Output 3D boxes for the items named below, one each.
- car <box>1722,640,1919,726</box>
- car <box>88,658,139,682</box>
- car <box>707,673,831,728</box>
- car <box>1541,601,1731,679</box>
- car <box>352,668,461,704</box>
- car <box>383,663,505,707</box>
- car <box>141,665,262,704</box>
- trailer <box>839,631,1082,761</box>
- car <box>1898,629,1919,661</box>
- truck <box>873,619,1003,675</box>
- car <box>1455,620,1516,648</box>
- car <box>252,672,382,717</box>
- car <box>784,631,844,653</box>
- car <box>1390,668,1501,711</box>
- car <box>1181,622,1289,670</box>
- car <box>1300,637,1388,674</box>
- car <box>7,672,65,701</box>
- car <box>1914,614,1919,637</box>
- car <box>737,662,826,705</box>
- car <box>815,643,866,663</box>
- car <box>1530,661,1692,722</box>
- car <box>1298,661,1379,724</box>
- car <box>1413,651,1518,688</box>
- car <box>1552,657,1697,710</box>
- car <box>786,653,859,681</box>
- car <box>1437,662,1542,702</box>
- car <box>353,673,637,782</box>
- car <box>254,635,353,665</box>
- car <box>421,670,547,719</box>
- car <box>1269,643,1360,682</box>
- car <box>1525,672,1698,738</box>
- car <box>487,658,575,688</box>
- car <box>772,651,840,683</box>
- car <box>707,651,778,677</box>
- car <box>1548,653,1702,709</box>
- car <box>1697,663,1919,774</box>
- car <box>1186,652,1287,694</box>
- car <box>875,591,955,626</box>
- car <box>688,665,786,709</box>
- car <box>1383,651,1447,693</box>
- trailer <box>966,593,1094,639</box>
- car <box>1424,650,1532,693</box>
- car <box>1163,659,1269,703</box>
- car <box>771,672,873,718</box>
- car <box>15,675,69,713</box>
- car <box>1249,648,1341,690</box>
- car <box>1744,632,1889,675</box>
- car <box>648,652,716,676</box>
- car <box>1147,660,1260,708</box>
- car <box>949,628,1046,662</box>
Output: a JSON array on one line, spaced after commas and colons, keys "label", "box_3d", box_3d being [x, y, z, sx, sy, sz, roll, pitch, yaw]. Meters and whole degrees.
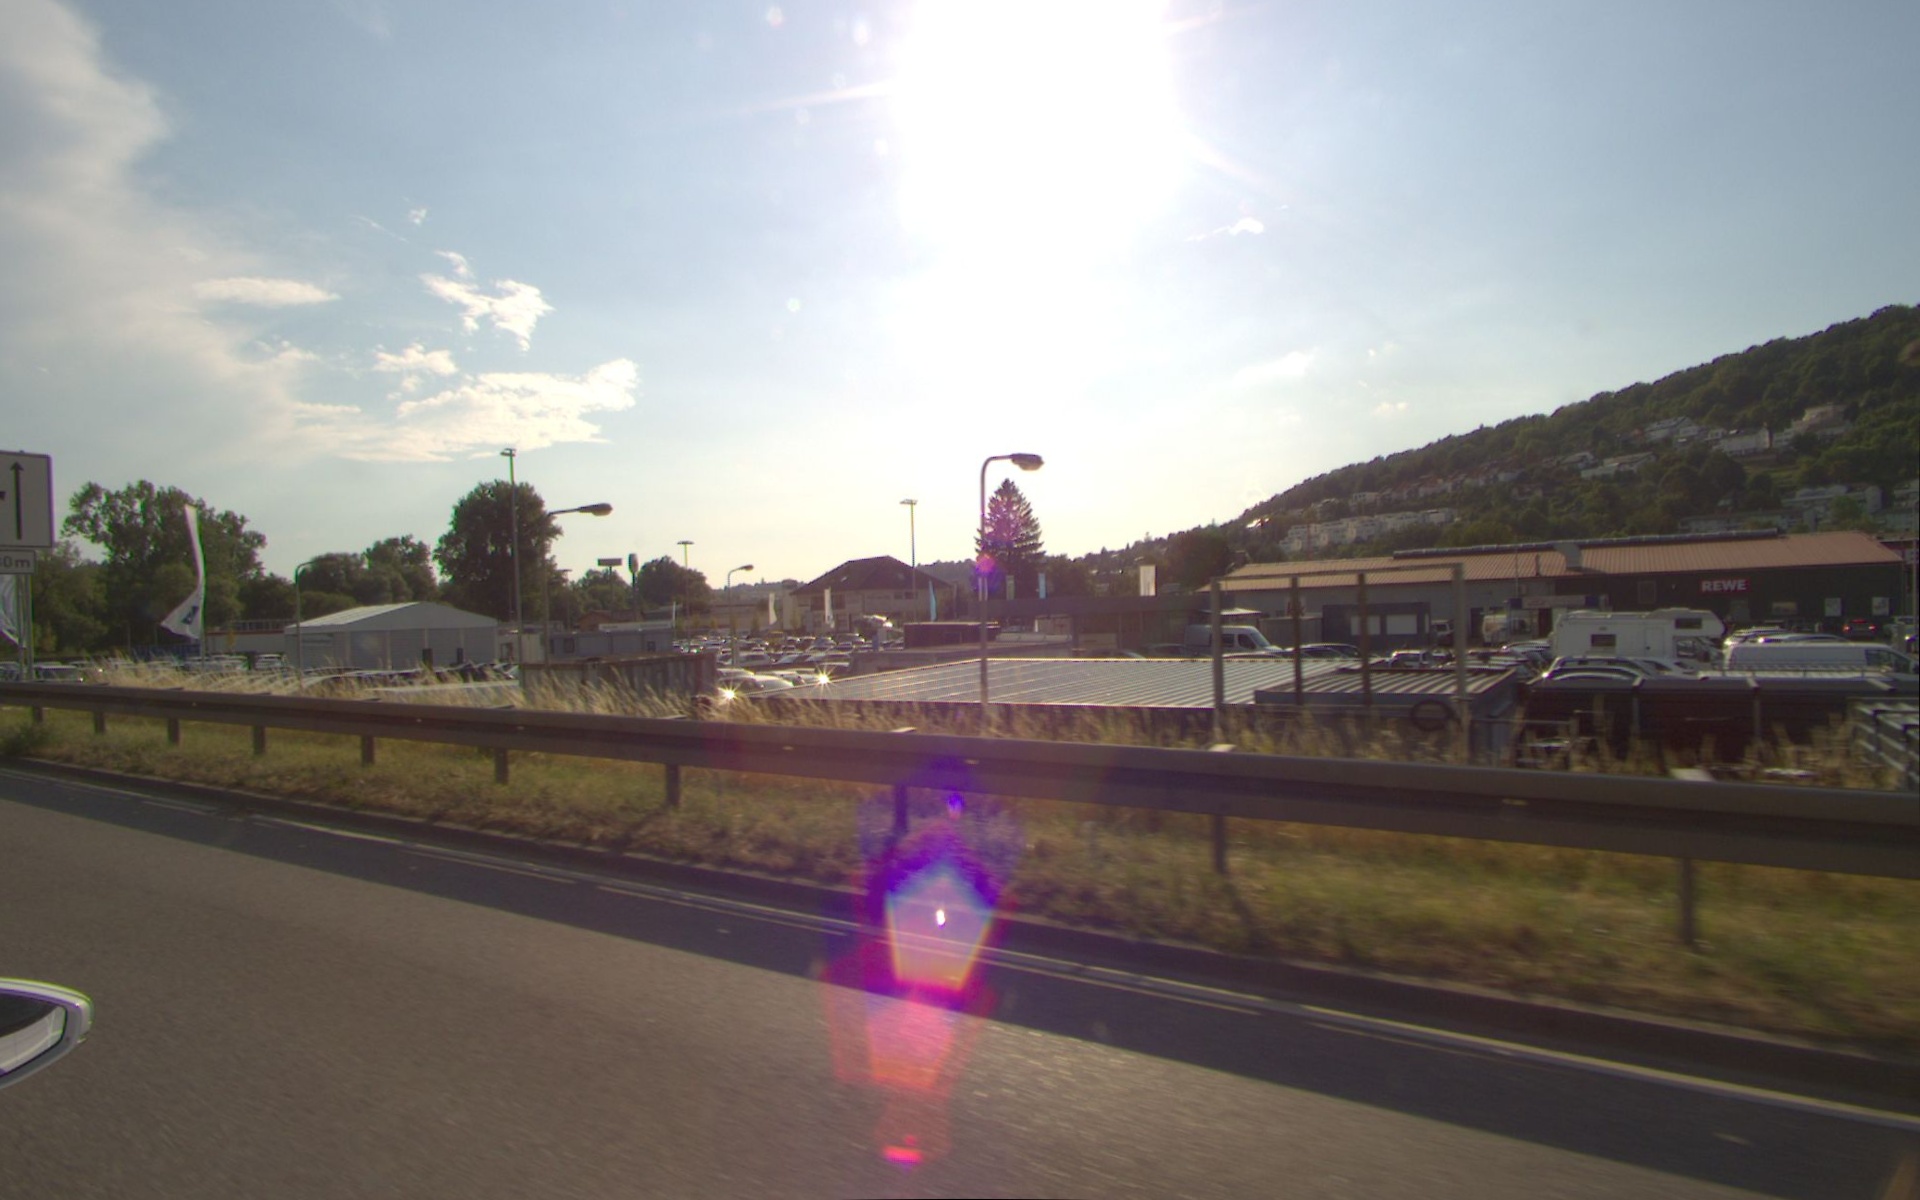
[{"label": "car", "box_3d": [24.852, 2.291, 28.254, 5.228, 2.274, 1.750, -2, -2, 36]}, {"label": "car", "box_3d": [-63.210, 5.200, 74.790, 4.669, 1.656, 1.874, -3, -3, 36]}, {"label": "car", "box_3d": [-6.862, 3.531, 35.760, 4.442, 1.722, 1.959, -3, -3, 38]}, {"label": "car", "box_3d": [23.752, 1.436, 35.372, 5.398, 2.581, 1.750, -2, -2, 36]}, {"label": "car", "box_3d": [-27.299, 4.210, 49.461, 1.780, 1.563, 4.400, -2, -3, 39]}, {"label": "car", "box_3d": [-22.402, 3.649, 43.615, 1.780, 1.735, 4.400, -2, -3, 39]}, {"label": "car", "box_3d": [-36.896, 4.084, 48.808, 1.820, 1.687, 4.400, -2, -3, 39]}, {"label": "trailer", "box_3d": [0.272, 2.652, 30.107, 3.315, 3.364, 7.856, -2, -3, 36]}, {"label": "car", "box_3d": [47.583, 2.209, 48.942, 1.705, 1.527, 3.982, -1, -2, 31]}, {"label": "truck", "box_3d": [-1.065, 2.156, 45.649, 5.892, 2.400, 1.988, -2, -2, 36]}, {"label": "car", "box_3d": [39.735, 2.559, 75.723, 3.943, 2.039, 1.990, -2, -2, 32]}, {"label": "car", "box_3d": [-25.253, 3.678, 39.430, 1.764, 1.563, 3.962, -2, -3, 35]}, {"label": "car", "box_3d": [-10.191, 2.931, 69.980, 1.810, 1.521, 3.971, -2, -3, 39]}, {"label": "car", "box_3d": [14.583, 2.662, 30.144, 1.260, 1.138, 2.747, 1, -3, -35]}, {"label": "car", "box_3d": [14.785, 2.481, 53.980, 5.262, 2.468, 1.987, -3, -3, 38]}, {"label": "car", "box_3d": [18.238, 2.636, 47.724, 3.603, 1.705, 1.769, -1, -2, 9]}, {"label": "car", "box_3d": [-56.788, 5.277, 61.509, 4.671, 1.656, 1.873, -3, -3, 38]}, {"label": "car", "box_3d": [71.235, 1.777, 71.250, 4.518, 1.609, 1.828, -2, 0, 31]}, {"label": "car", "box_3d": [-7.638, 3.524, 42.624, 3.843, 1.722, 1.591, -3, -3, 38]}, {"label": "car", "box_3d": [-10.279, 4.571, 86.251, 4.354, 1.657, 1.886, 0, -2, -7]}, {"label": "car", "box_3d": [19.469, 2.695, 30.059, 3.948, 1.660, 1.750, -2, -3, 36]}, {"label": "car", "box_3d": [13.516, 3.236, 35.656, 1.806, 2.039, 3.627, -2, -3, 35]}, {"label": "car", "box_3d": [16.228, 2.215, 32.247, 1.260, 1.138, 2.747, 1, -3, -35]}, {"label": "car", "box_3d": [22.400, 2.776, 33.843, 3.948, 1.660, 1.750, -2, -3, 36]}, {"label": "car", "box_3d": [-8.258, 3.993, 60.473, 1.780, 1.563, 4.314, -2, -3, 39]}, {"label": "car", "box_3d": [17.954, 2.769, 34.020, 1.343, 1.243, 2.852, 1, -3, -35]}, {"label": "car", "box_3d": [-10.618, 2.819, 23.431, 1.973, 2.039, 5.867, -2, -3, 34]}, {"label": "car", "box_3d": [-37.250, 2.822, 56.901, 1.864, 1.656, 4.407, -2, -3, 39]}, {"label": "car", "box_3d": [-19.770, 3.883, 41.757, 1.780, 1.736, 4.399, -2, -2, 39]}, {"label": "car", "box_3d": [16.024, 2.812, 45.404, 3.603, 1.705, 1.769, -1, -2, 9]}, {"label": "car", "box_3d": [18.263, 2.897, 28.188, 3.948, 1.660, 1.750, -2, -3, 36]}, {"label": "car", "box_3d": [-24.745, 4.170, 57.875, 1.780, 1.563, 4.400, -2, -3, 39]}, {"label": "car", "box_3d": [-9.647, 4.200, 63.002, 1.904, 1.883, 3.971, -2, -3, 39]}, {"label": "car", "box_3d": [-14.010, 4.103, 64.646, 1.782, 1.563, 4.308, -3, -3, 43]}, {"label": "car", "box_3d": [21.021, 2.522, 31.755, 3.948, 1.660, 1.750, -2, -3, 36]}, {"label": "car", "box_3d": [17.380, 2.242, 19.511, 4.765, 1.976, 1.750, -2, -3, 36]}, {"label": "car", "box_3d": [11.216, 2.957, 40.781, 3.702, 1.590, 1.682, -1, -2, 6]}, {"label": "car", "box_3d": [-2.244, 0.433, 49.205, 3.843, 1.563, 1.591, -3, -3, 38]}, {"label": "car", "box_3d": [-9.087, 3.489, 40.685, 4.233, 1.614, 1.591, -3, -3, 38]}, {"label": "car", "box_3d": [19.923, 3.121, 43.769, 1.627, 1.689, 3.621, -2, -3, 40]}, {"label": "trailer", "box_3d": [3.383, 0.839, 49.157, 6.206, 2.048, 1.987, -3, -3, 37]}, {"label": "car", "box_3d": [20.722, 2.826, 40.151, 1.783, 1.636, 3.418, 1, -3, -34]}, {"label": "car", "box_3d": [9.756, 3.085, 38.329, 3.702, 1.590, 1.682, -1, -2, 6]}, {"label": "car", "box_3d": [-5.202, 3.536, 37.649, 3.843, 1.583, 1.591, -3, -3, 38]}, {"label": "car", "box_3d": [-52.338, 5.325, 57.067, 4.679, 1.955, 1.870, -3, -3, 42]}, {"label": "car", "box_3d": [14.295, 2.967, 42.919, 3.606, 1.705, 1.767, -1, -1, 15]}, {"label": "car", "box_3d": [34.634, 2.180, 40.584, 4.113, 1.649, 1.728, -1, -2, 8]}, {"label": "car", "box_3d": [-19.511, 4.491, 70.378, 1.782, 1.563, 4.308, -3, -3, 43]}, {"label": "car", "box_3d": [8.639, 2.976, 35.723, 3.702, 1.590, 1.682, -1, -2, 6]}, {"label": "car", "box_3d": [1.727, 2.133, 47.094, 4.291, 1.563, 1.789, -3, -3, 37]}]
